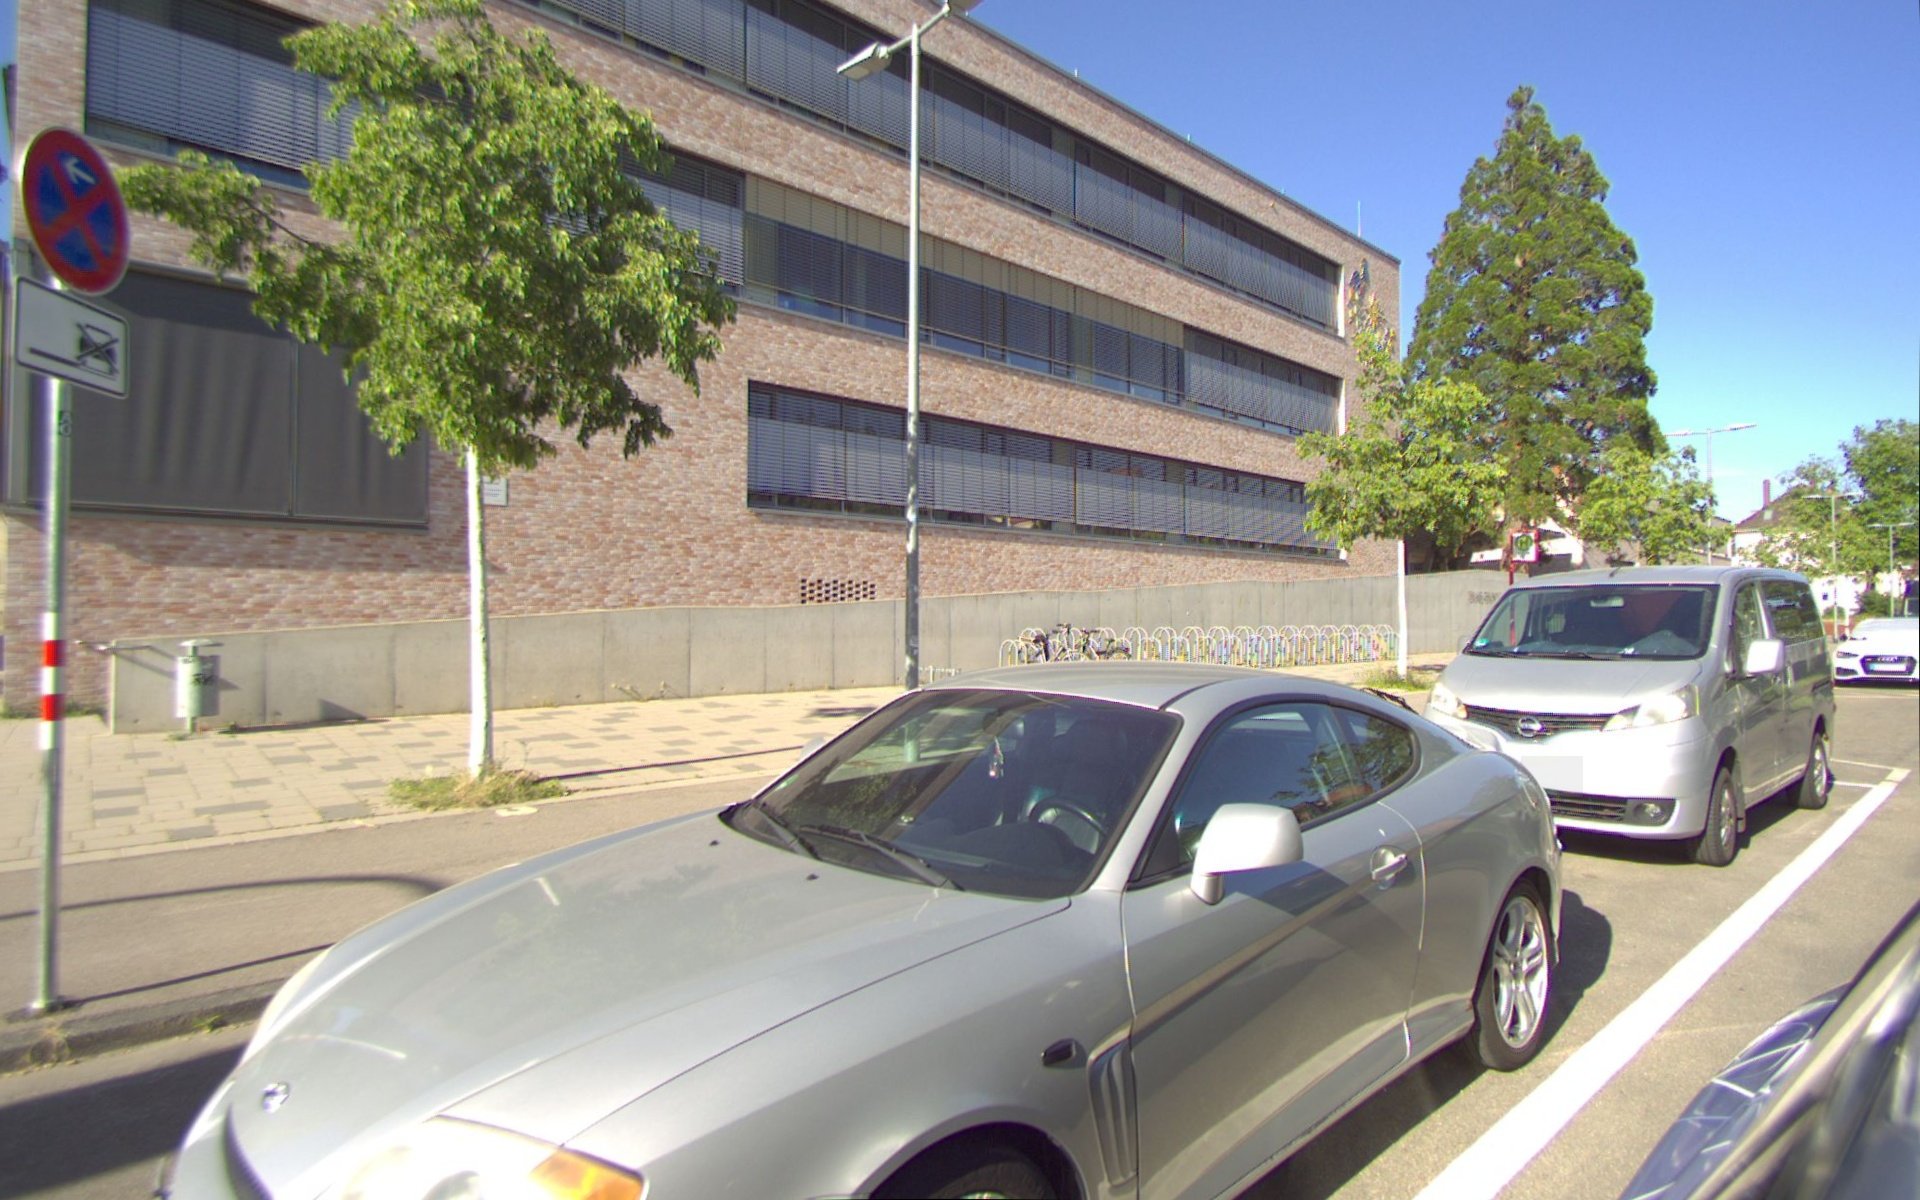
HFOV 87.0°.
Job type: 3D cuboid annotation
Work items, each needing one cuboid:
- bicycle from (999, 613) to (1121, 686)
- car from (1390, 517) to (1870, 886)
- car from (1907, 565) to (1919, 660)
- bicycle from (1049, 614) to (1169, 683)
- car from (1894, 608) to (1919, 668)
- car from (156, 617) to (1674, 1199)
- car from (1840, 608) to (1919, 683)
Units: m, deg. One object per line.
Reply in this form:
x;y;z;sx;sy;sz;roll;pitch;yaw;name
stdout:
1.710;0.823;17.524;0.868;1.076;2.028;1;2;-42;bicycle
5.137;0.549;7.480;4.545;1.935;1.786;0;-1;-41;car
29.522;0.359;29.558;6.093;2.631;2.072;0;-1;-41;car
2.675;0.839;18.344;0.845;1.077;2.083;1;1;-41;bicycle
24.433;0.904;24.882;3.855;1.438;1.713;0;-1;-41;car
0.575;0.746;3.217;4.848;1.349;1.651;0;-1;-41;car
19.662;0.877;20.802;3.969;1.438;1.823;0;-1;-41;car
